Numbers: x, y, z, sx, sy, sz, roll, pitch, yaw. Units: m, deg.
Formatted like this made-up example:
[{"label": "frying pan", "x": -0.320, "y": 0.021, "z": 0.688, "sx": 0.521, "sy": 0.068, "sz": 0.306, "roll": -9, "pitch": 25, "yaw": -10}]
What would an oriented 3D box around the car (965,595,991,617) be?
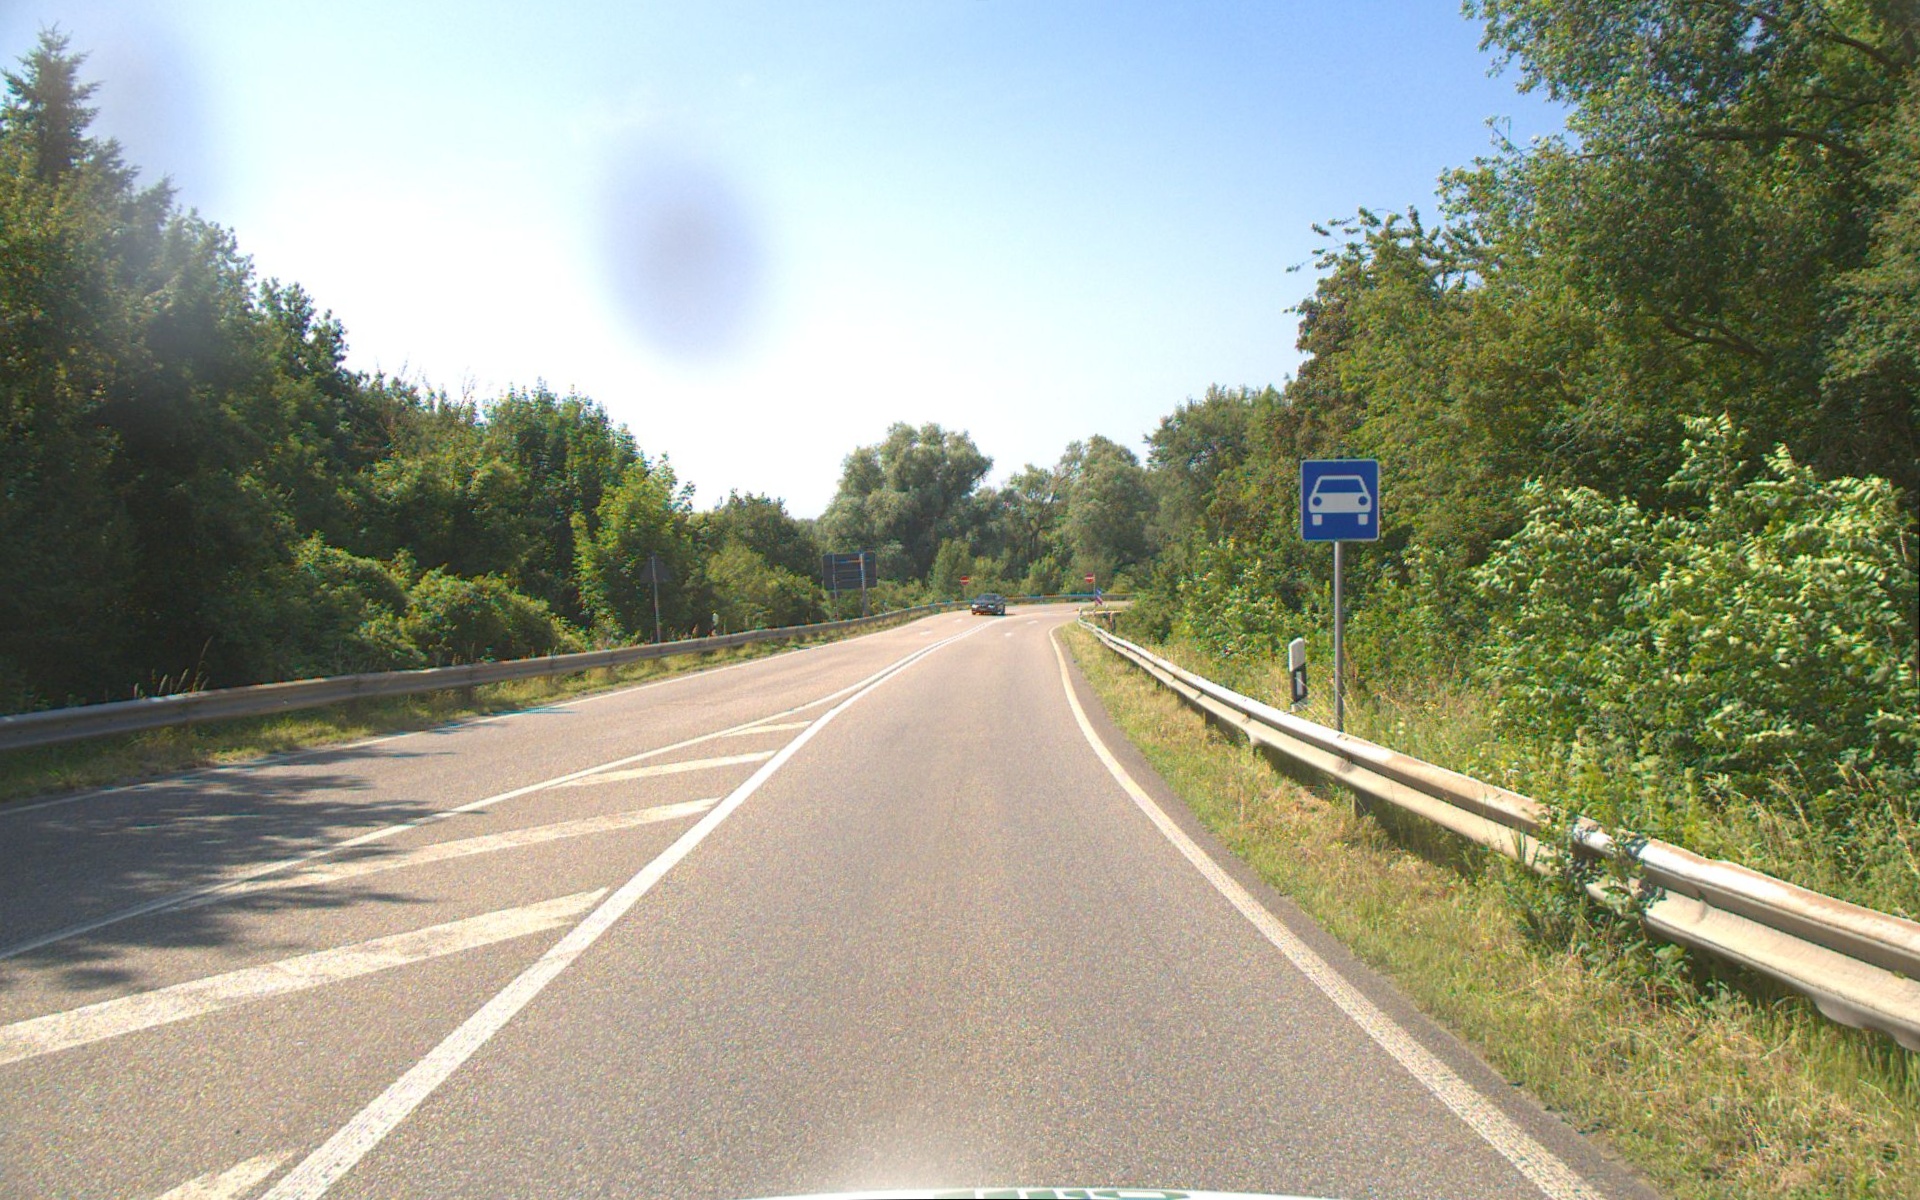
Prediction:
[{"label": "car", "x": 1.295, "y": 0.450, "z": 115.894, "sx": 1.574, "sy": 1.499, "sz": 4.222, "roll": -1, "pitch": 0, "yaw": 4}]
